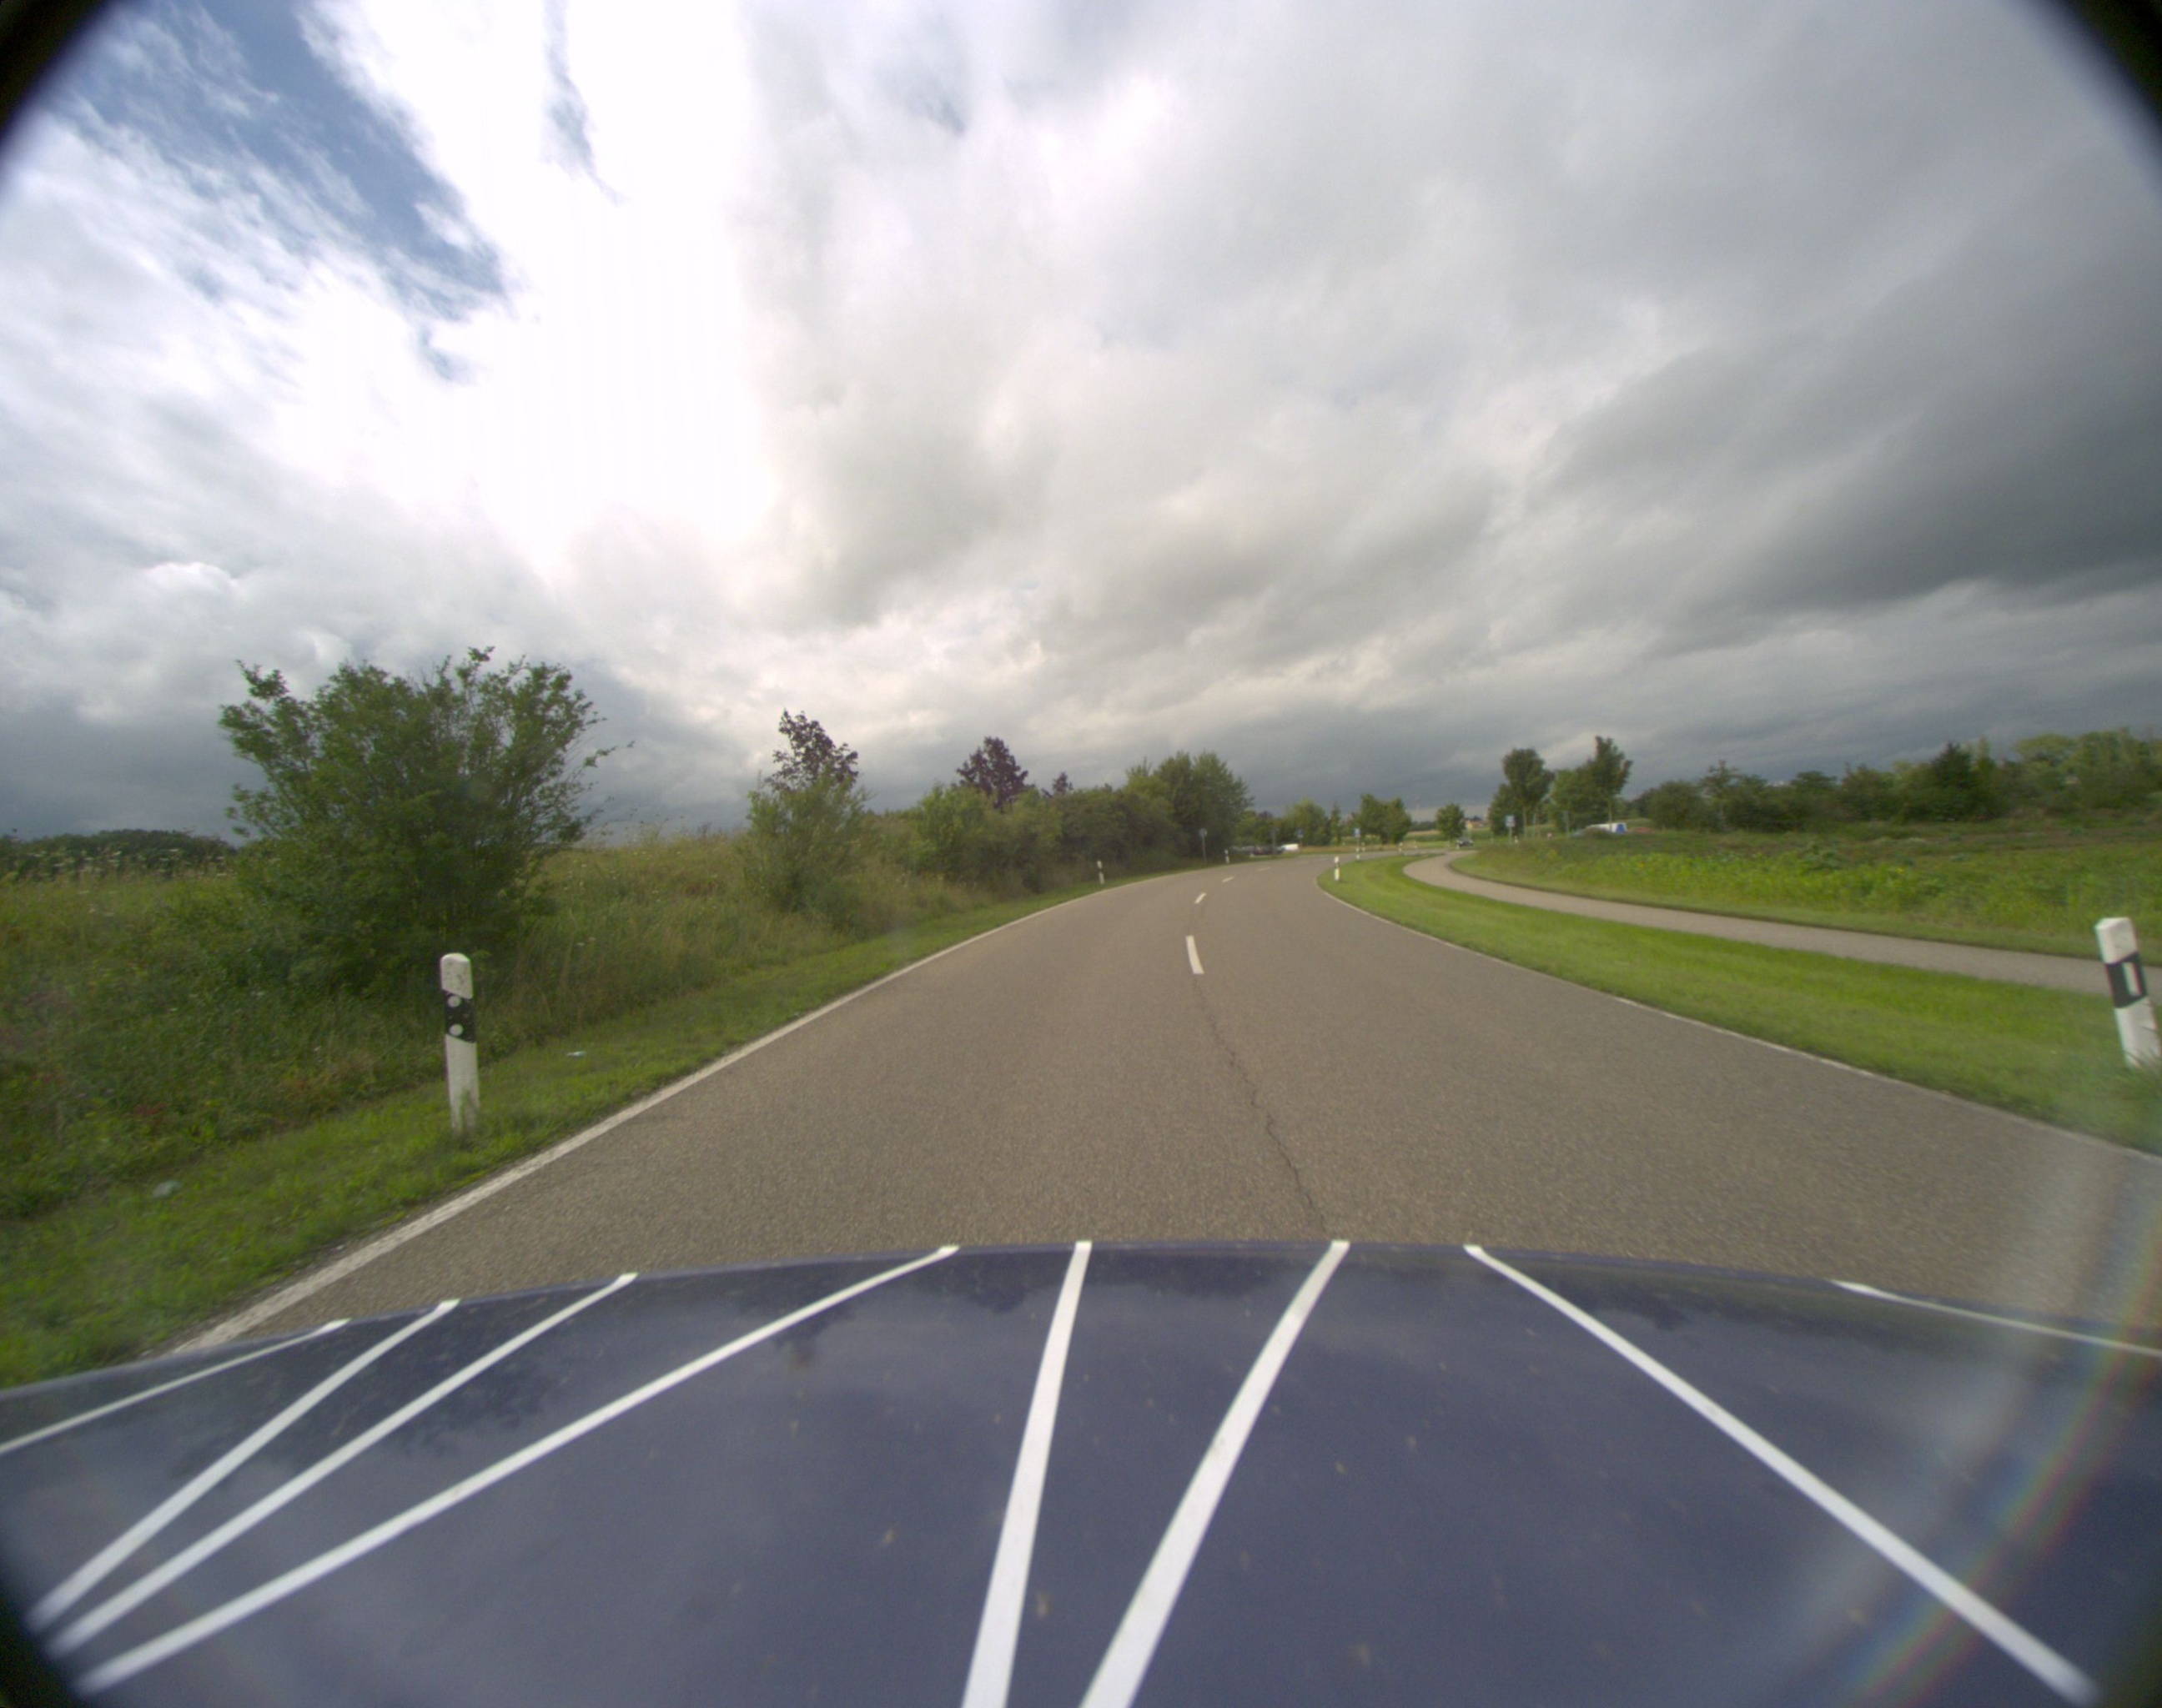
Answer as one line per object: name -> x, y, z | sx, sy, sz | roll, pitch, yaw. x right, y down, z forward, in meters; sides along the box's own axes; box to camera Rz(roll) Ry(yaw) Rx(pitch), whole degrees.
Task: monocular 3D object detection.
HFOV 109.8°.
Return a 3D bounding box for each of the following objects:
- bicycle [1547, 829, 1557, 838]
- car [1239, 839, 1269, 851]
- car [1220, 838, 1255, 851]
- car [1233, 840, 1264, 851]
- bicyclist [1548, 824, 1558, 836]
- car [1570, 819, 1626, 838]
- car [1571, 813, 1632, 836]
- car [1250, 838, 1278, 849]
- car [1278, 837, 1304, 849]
bicycle -> 60.612, -2.637, 97.717 | 0.636, 1.026, 2.195 | -2, 1, 43
car -> 26.757, -1.392, 117.553 | 4.000, 1.496, 2.055 | -3, 1, 31
car -> 22.419, -1.344, 109.091 | 4.482, 1.572, 2.003 | -3, 1, 25
car -> 25.203, -1.347, 114.385 | 4.156, 1.406, 2.003 | -3, 1, 25
bicyclist -> 60.805, -3.084, 97.851 | 1.057, 1.557, 0.831 | -4, 1, -45
car -> 50.390, -2.495, 74.040 | 4.250, 1.585, 2.004 | -3, 0, 42
car -> 53.402, -3.002, 77.993 | 4.897, 2.002, 2.060 | -3, 0, 40
car -> 29.604, -1.702, 122.730 | 3.991, 1.488, 2.003 | -3, 1, 25
car -> 37.347, -2.006, 135.131 | 3.990, 1.849, 2.003 | -3, 1, 28
